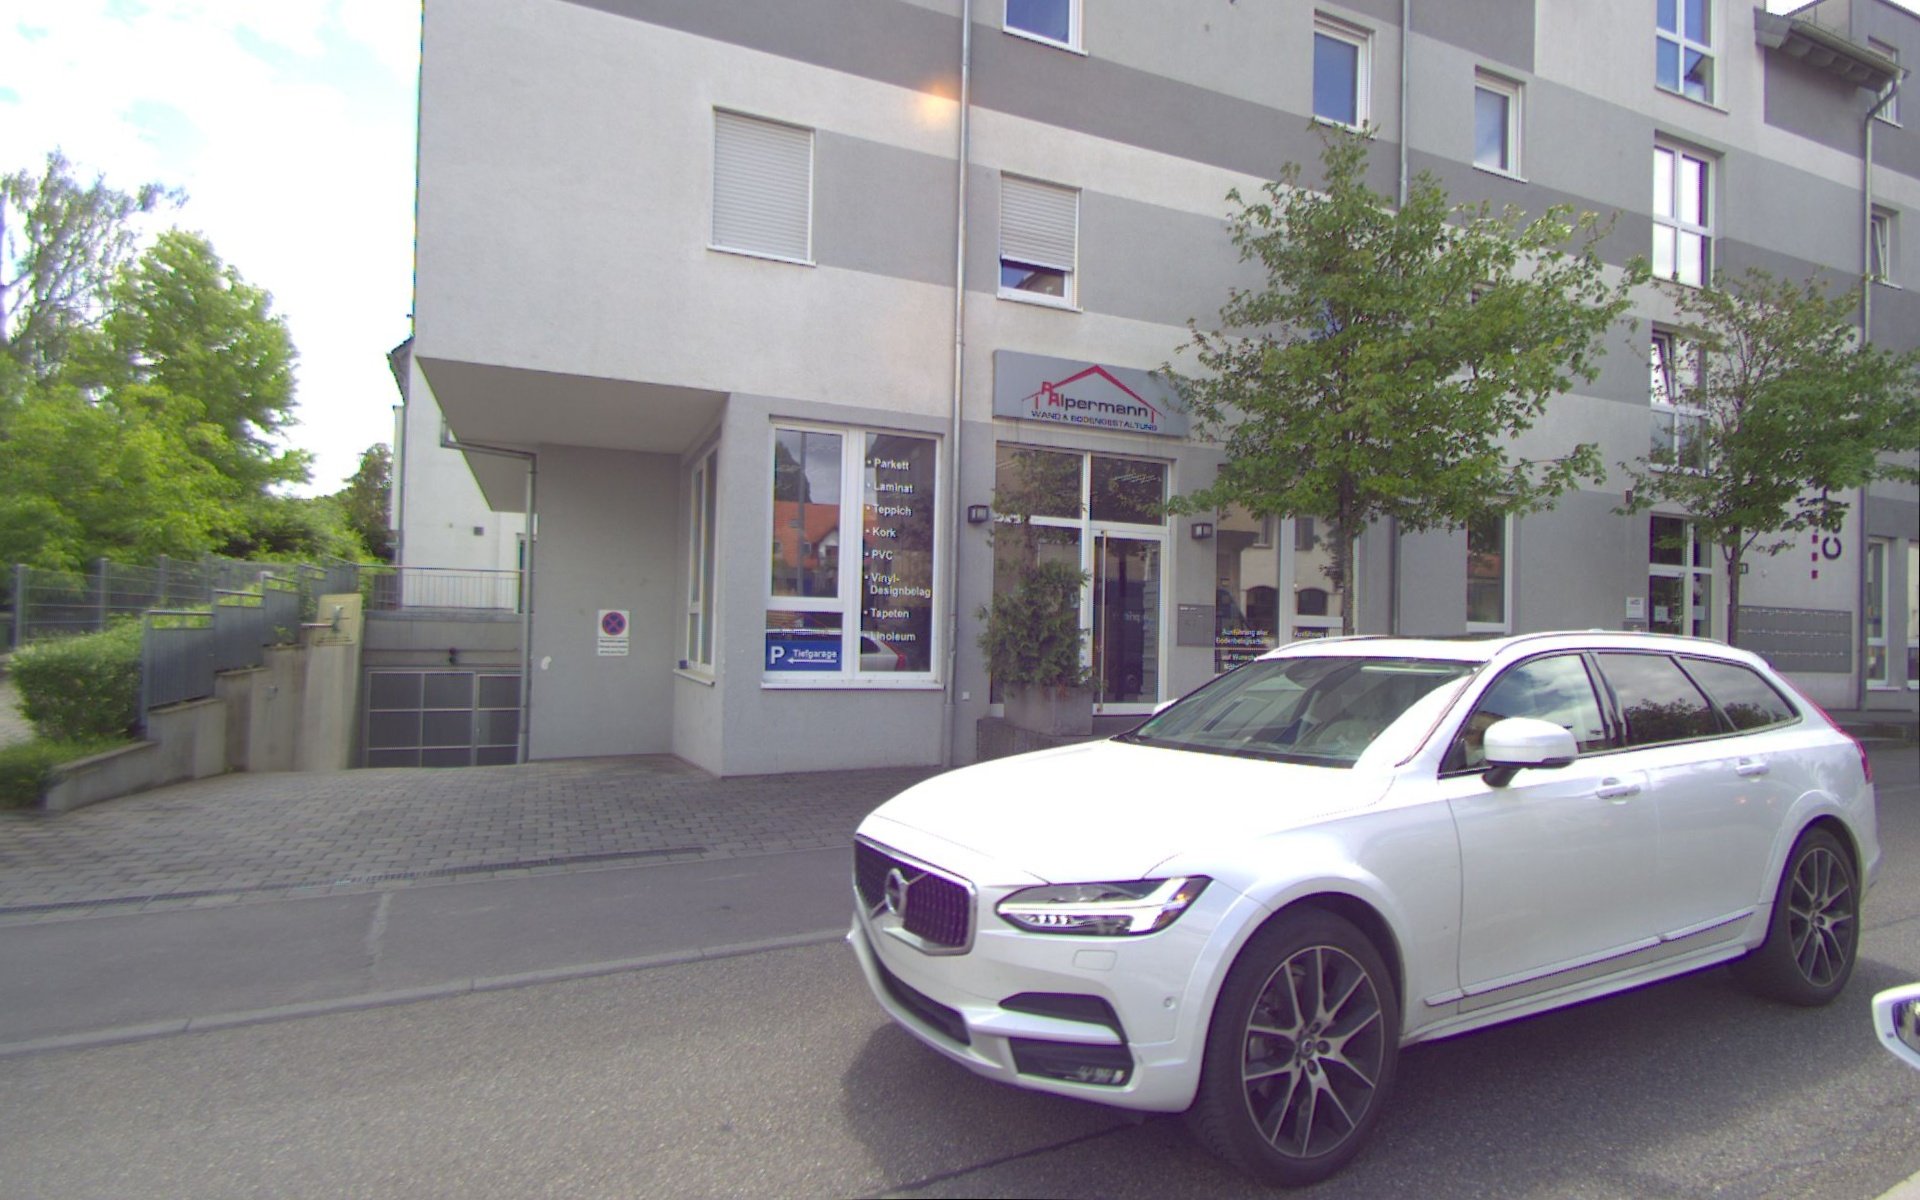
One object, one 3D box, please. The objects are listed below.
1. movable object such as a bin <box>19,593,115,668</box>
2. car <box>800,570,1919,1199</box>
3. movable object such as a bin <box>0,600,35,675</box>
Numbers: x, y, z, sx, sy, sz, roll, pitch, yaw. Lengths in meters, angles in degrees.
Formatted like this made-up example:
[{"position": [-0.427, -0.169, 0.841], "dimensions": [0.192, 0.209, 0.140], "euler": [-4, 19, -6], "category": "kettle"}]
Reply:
[{"position": [-21.773, 0.741, 24.544], "dimensions": [1.490, 1.753, 1.079], "euler": [2, -1, -29], "category": "movable object such as a bin"}, {"position": [1.896, 0.836, 4.206], "dimensions": [4.741, 1.580, 1.890], "euler": [2, -4, -28], "category": "car"}, {"position": [-23.094, 0.862, 23.777], "dimensions": [1.490, 1.753, 1.079], "euler": [2, -1, -29], "category": "movable object such as a bin"}]
